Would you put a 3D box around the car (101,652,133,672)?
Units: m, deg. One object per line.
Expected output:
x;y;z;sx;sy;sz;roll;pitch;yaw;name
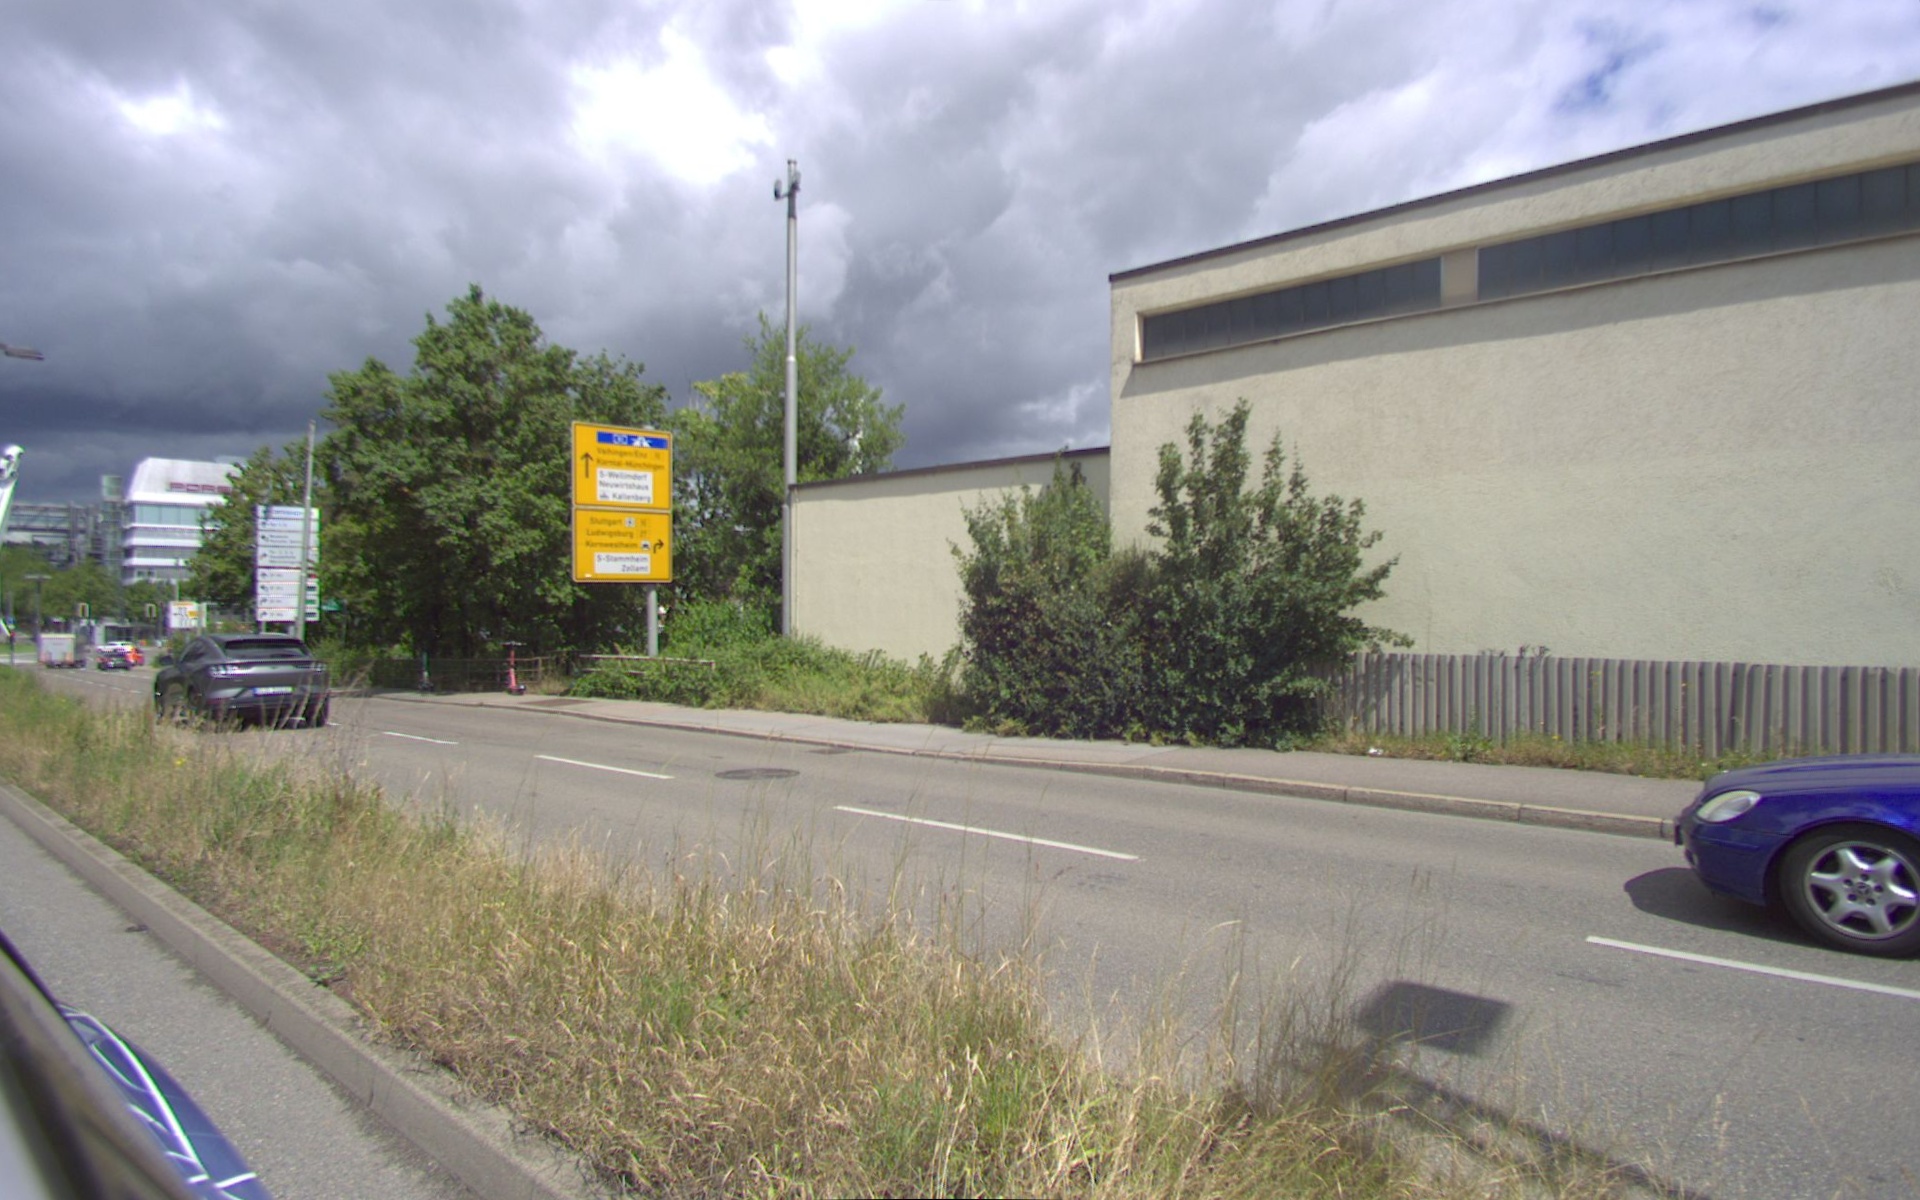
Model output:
-68.785;5.078;82.567;1.817;1.519;4.566;1;-3;-42;car

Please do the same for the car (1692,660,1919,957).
5.698;0.949;4.350;3.998;1.285;1.736;-1;-4;41;car

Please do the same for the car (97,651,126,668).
-77.521;5.425;92.498;1.772;1.433;4.502;2;-3;-37;car

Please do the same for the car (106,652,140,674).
-81.433;6.089;98.491;1.966;1.973;4.641;0;-2;-32;car

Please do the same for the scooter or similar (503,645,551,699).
-10.255;1.693;23.920;0.485;1.225;1.644;1;-3;-44;scooter or similar

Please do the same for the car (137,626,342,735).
-12.496;1.322;17.452;4.440;1.639;1.858;-3;-4;41;car

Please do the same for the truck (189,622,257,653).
-99.056;5.031;135.947;8.906;3.595;2.350;-3;-1;16;truck

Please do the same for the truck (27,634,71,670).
-83.426;4.792;92.773;2.820;2.879;9.388;0;-4;-41;truck

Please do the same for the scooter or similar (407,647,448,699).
-14.129;1.930;26.846;0.486;1.314;1.644;-2;-1;-44;scooter or similar
